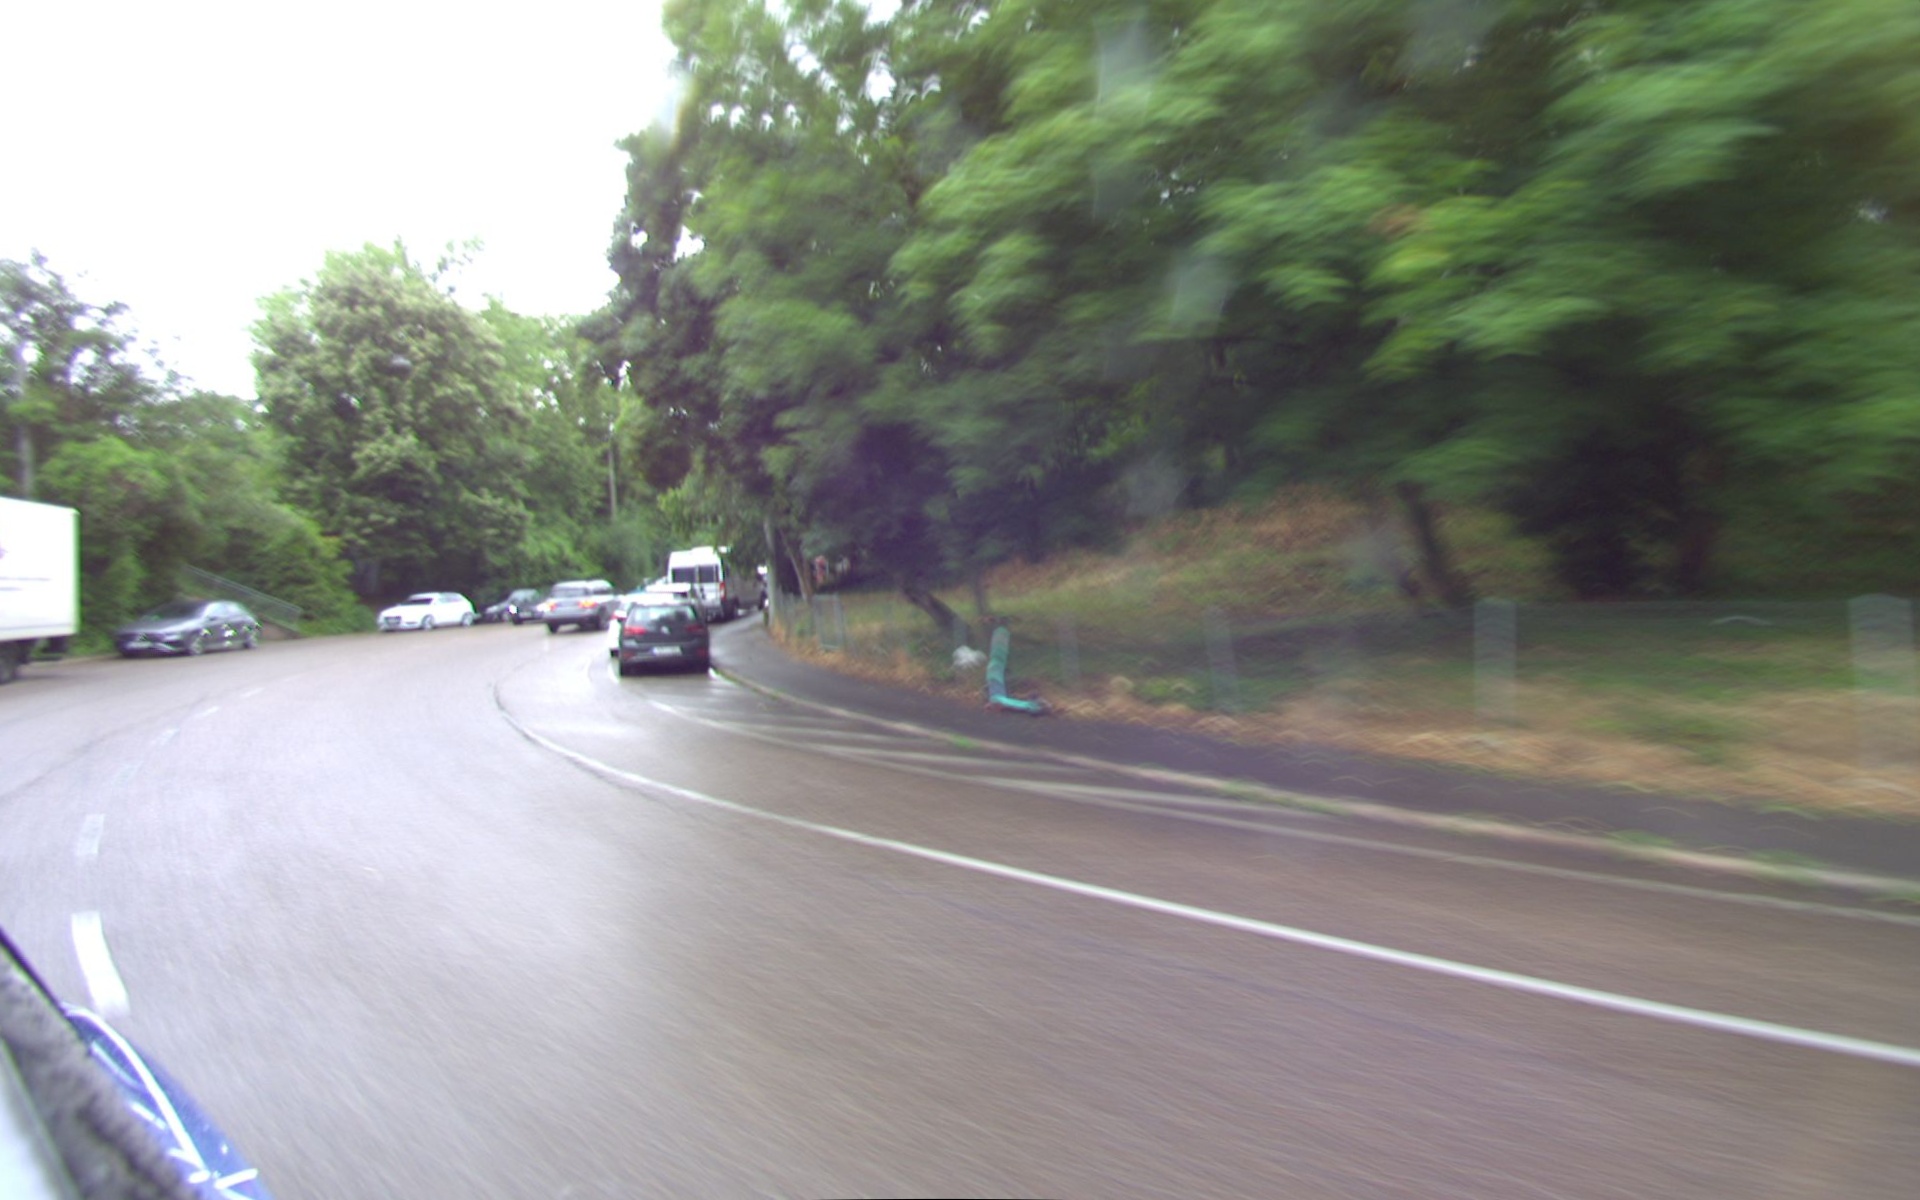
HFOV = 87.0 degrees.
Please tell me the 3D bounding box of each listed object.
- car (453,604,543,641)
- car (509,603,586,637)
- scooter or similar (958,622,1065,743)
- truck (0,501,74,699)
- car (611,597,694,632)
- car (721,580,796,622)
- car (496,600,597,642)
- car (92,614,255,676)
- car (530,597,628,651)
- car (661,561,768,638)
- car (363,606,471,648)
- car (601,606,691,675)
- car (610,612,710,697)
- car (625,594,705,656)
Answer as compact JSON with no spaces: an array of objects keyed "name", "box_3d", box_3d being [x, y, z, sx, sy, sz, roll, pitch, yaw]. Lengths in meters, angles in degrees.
[{"name":"car","box_3d":[-20.748,0.977,45.589,1.648,1.435,3.955,-4,0,11]},{"name":"car","box_3d":[-20.560,0.959,50.592,1.579,1.399,3.807,-6,0,13]},{"name":"scooter or similar","box_3d":[0.595,0.954,12.231,0.599,1.277,1.442,-5,2,-25]},{"name":"truck","box_3d":[-18.296,0.030,16.593,2.965,3.601,8.364,-1,0,-22]},{"name":"car","box_3d":[-15.833,0.700,52.369,1.982,1.683,4.506,-2,0,16]},{"name":"car","box_3d":[-8.745,0.007,44.308,1.975,1.631,4.390,2,2,6]},{"name":"car","box_3d":[-16.818,0.813,41.421,1.877,1.550,4.490,-1,0,7]},{"name":"car","box_3d":[-21.306,1.173,27.642,1.699,1.455,4.132,-2,0,-9]},{"name":"car","box_3d":[-13.039,0.777,34.903,1.797,1.682,4.310,-2,0,-1]},{"name":"car","box_3d":[-8.963,-0.130,37.685,2.053,2.568,6.341,0,3,4]},{"name":"car","box_3d":[-21.634,1.049,40.488,1.739,1.411,4.088,-4,0,6]},{"name":"car","box_3d":[-7.813,0.939,25.467,1.729,1.467,4.057,-1,1,-11]},{"name":"car","box_3d":[-6.253,1.020,20.816,1.748,1.453,4.028,-1,1,-19]},{"name":"car","box_3d":[-8.847,0.700,30.631,1.781,1.594,4.033,-1,2,-9]}]
